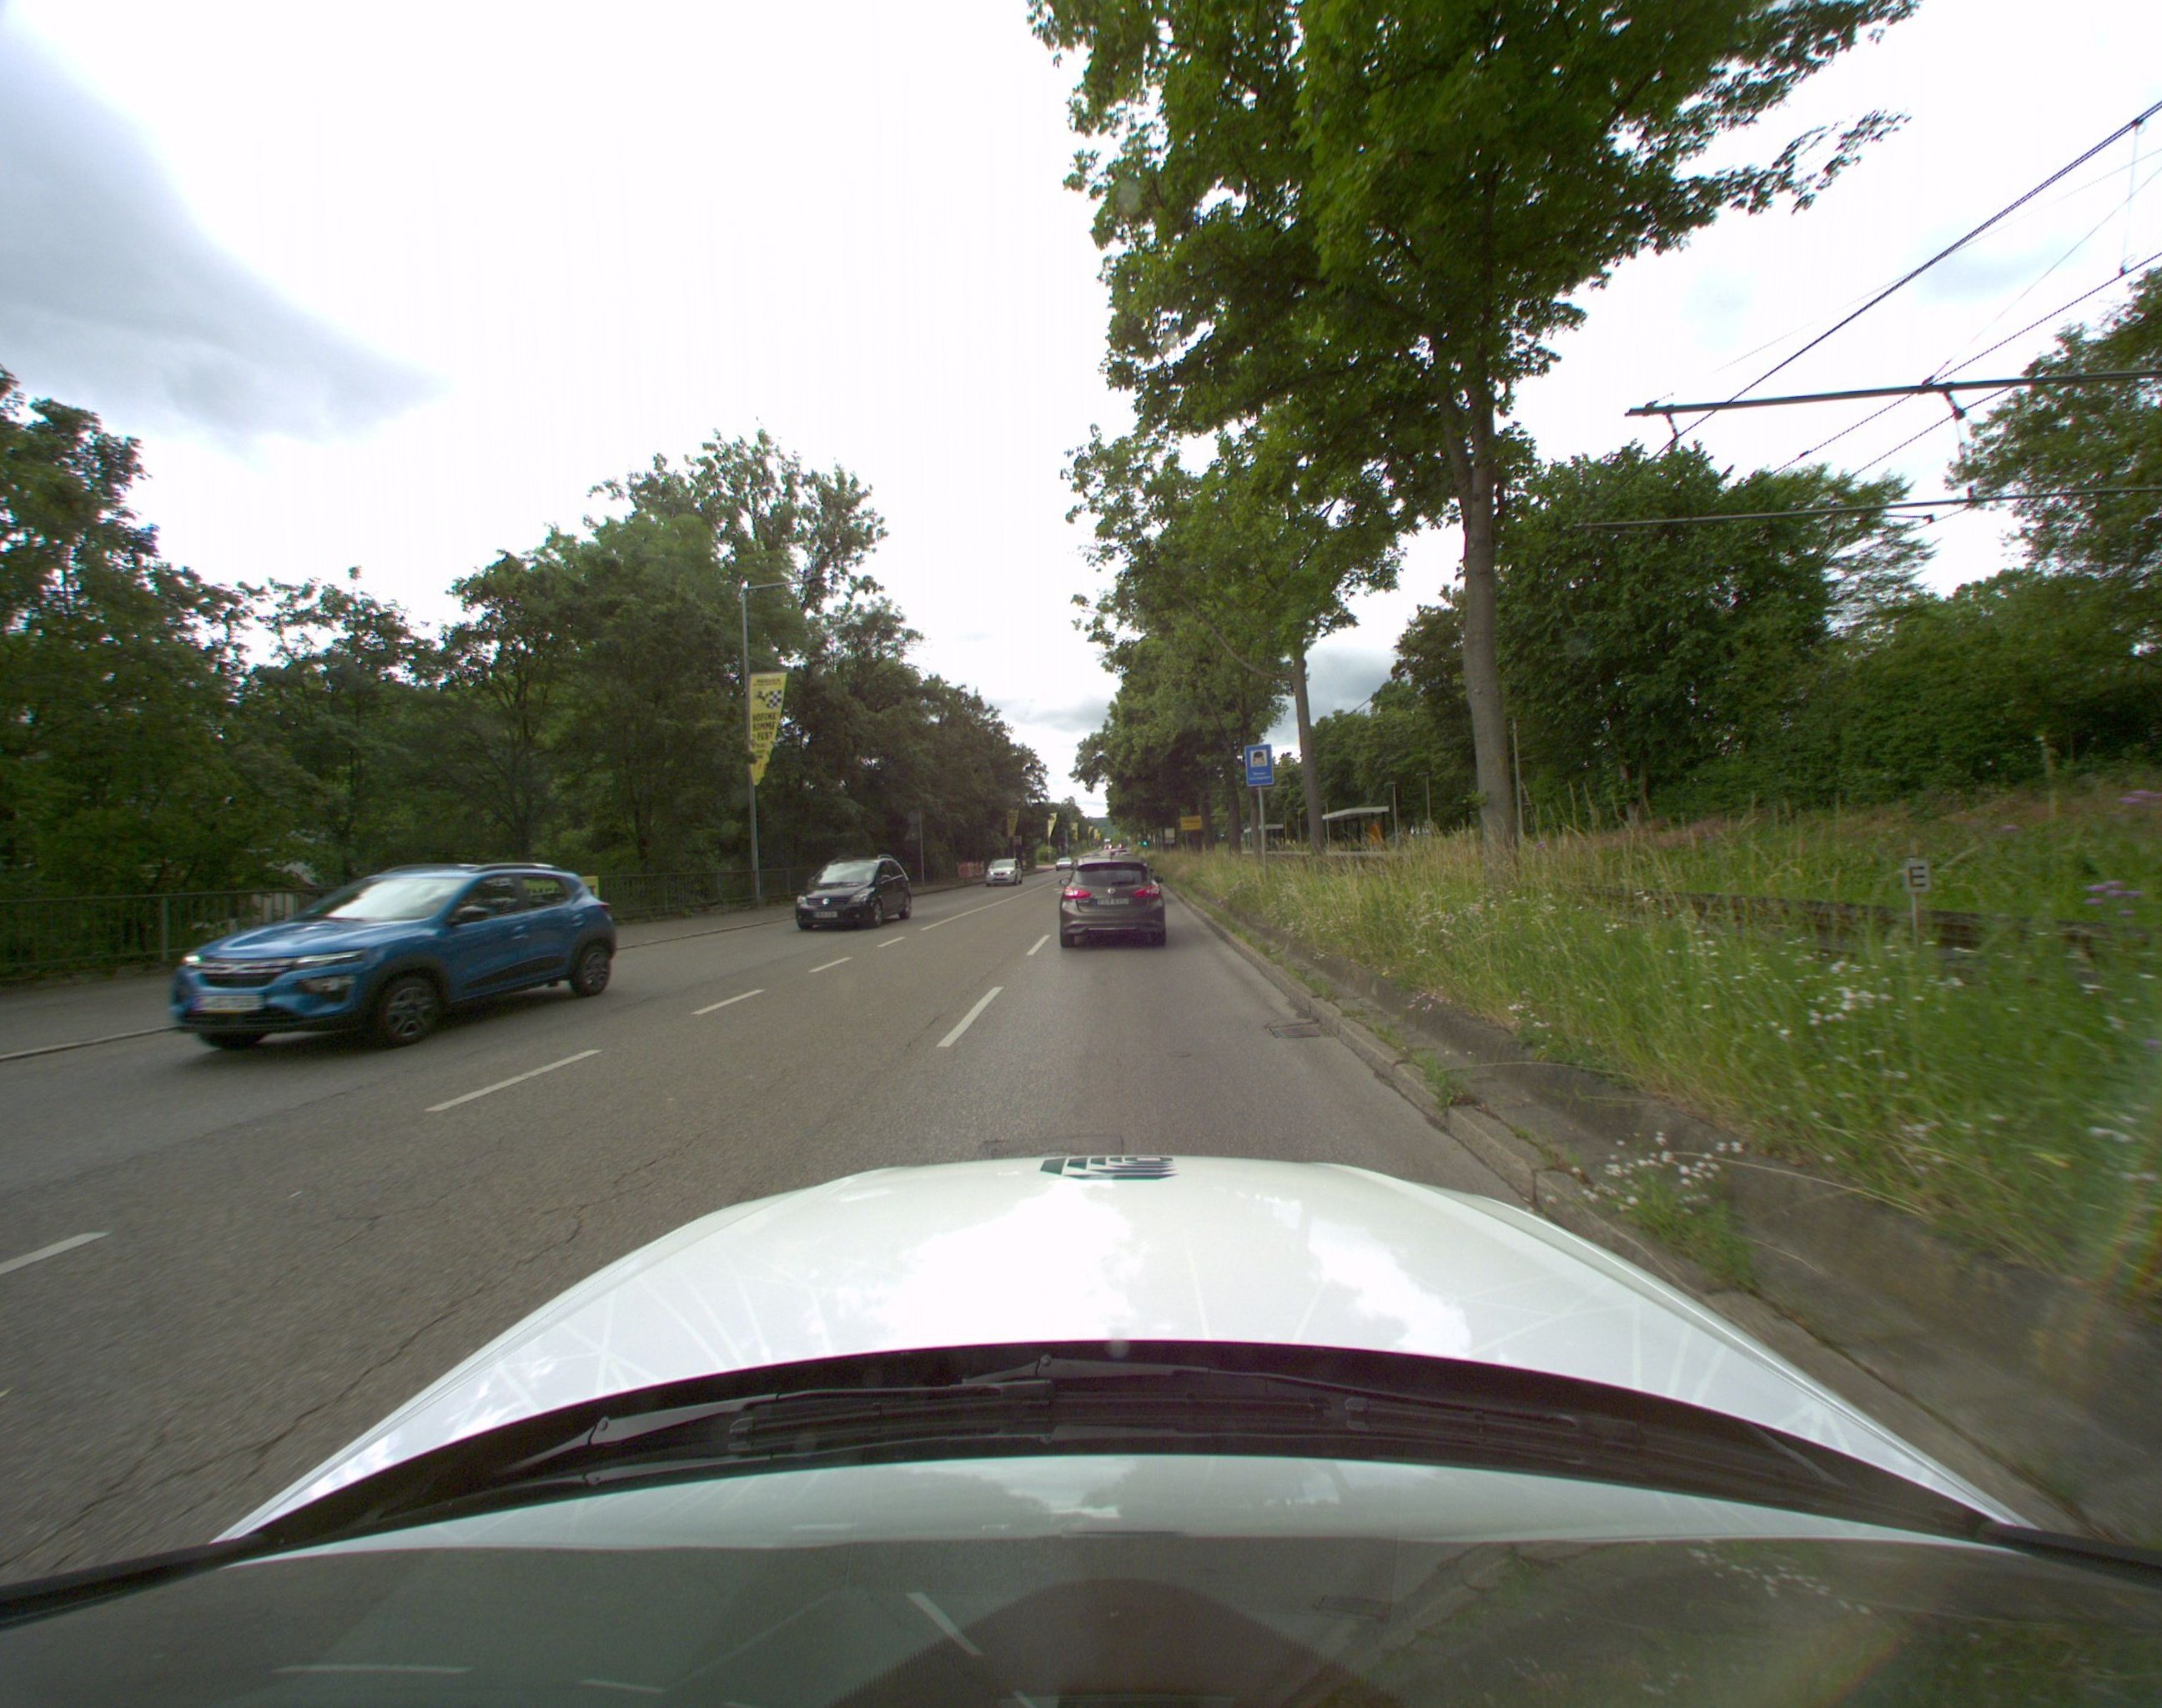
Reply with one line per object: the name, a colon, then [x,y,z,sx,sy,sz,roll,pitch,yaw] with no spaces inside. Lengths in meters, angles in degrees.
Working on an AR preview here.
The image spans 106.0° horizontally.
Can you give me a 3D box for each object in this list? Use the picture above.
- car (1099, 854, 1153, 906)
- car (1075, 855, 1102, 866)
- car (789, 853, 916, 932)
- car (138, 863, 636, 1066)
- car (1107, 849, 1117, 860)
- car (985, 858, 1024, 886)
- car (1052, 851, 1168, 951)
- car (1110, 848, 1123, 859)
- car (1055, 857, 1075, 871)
car: [1.385,0.744,25.244,1.496,1.441,3.544,-2,0,3]
car: [0.967,0.893,105.662,1.772,1.337,3.655,-2,0,-35]
car: [-5.191,0.819,19.048,1.714,1.607,4.014,-1,0,1]
car: [-6.268,0.857,8.007,1.574,1.486,3.699,-1,0,3]
car: [6.077,0.109,160.287,1.987,2.014,4.000,0,-1,0]
car: [-4.179,0.966,45.035,1.574,1.466,3.699,-2,0,3]
car: [0.563,0.744,14.685,1.776,1.507,3.699,-2,0,3]
car: [5.300,-0.133,120.964,1.985,1.574,4.003,0,-1,3]
car: [-1.629,1.037,85.601,1.751,1.337,3.699,-2,0,3]
